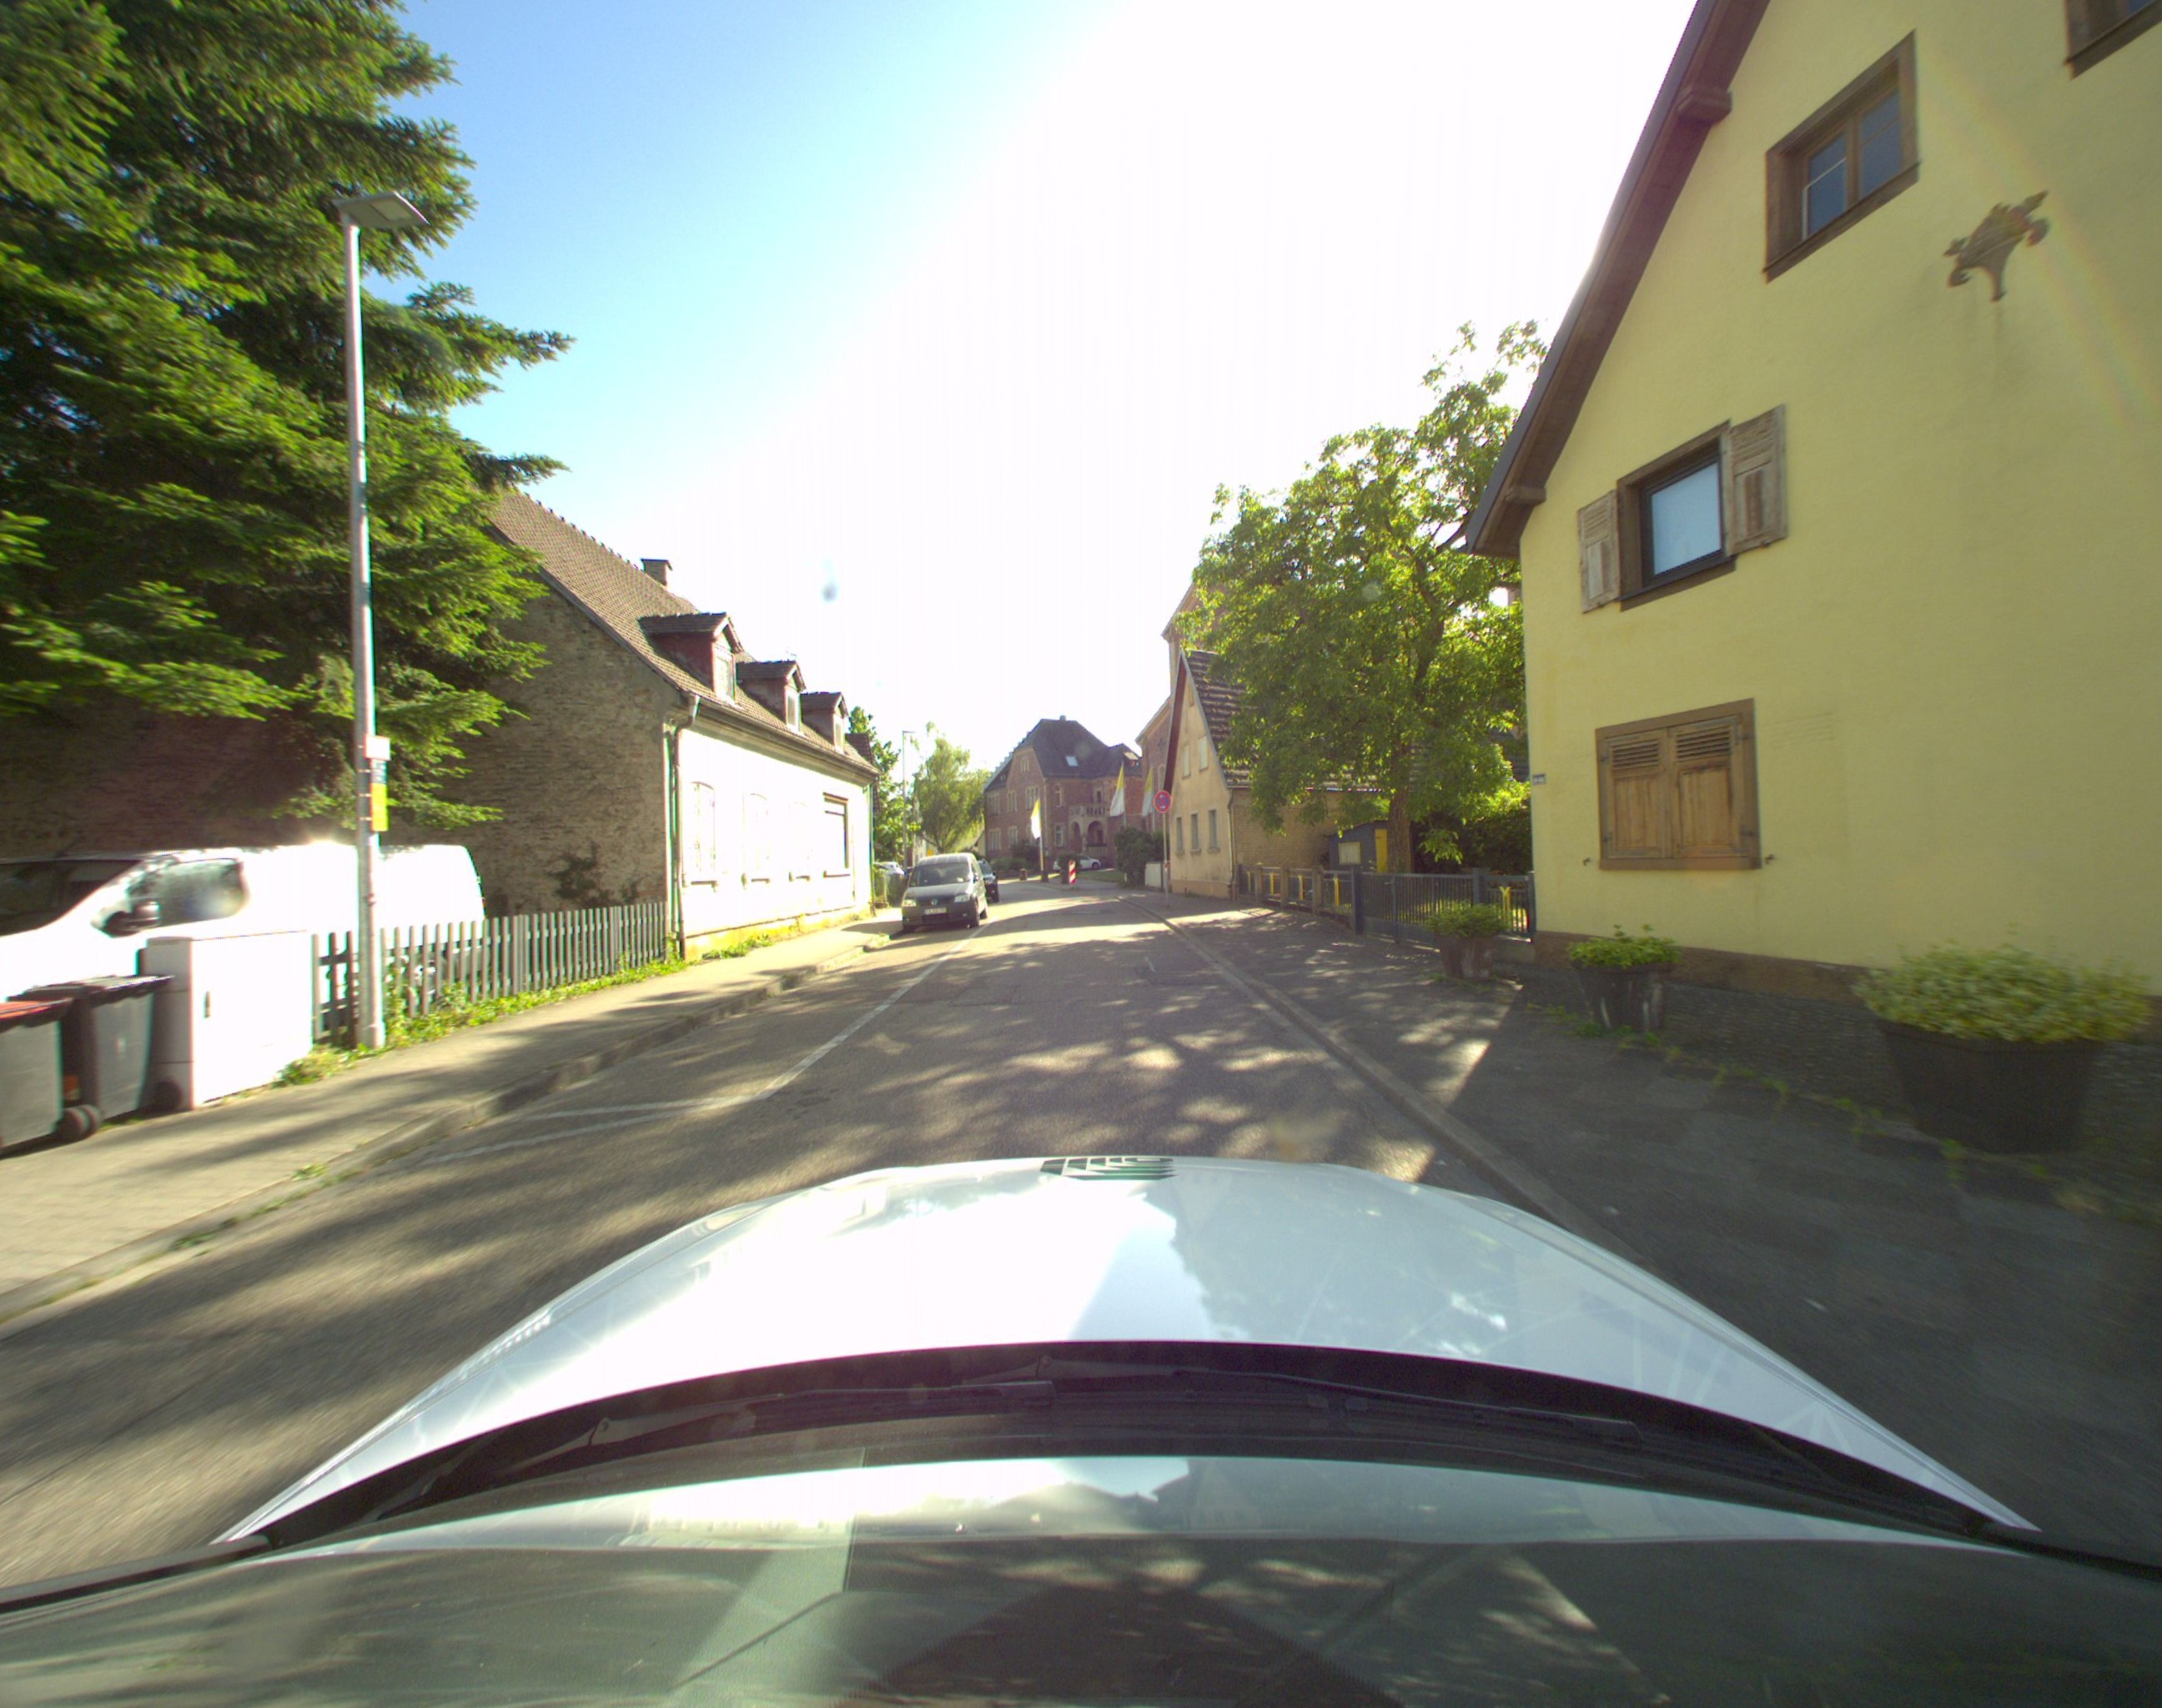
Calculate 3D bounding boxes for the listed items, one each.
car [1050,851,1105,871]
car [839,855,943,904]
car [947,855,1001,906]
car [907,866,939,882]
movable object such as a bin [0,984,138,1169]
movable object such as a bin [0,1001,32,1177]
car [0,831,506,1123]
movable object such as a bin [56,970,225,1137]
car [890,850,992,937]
[{"bbox_3d":[-0.258,0.601,68.056,4.263,1.400,1.700,-3,0,-32],"label":"car"},{"bbox_3d":[-8.326,1.092,35.616,4.200,1.732,1.821,-5,0,-18],"label":"car"},{"bbox_3d":[-4.261,0.986,31.885,1.826,1.732,4.187,-5,0,-10],"label":"car"},{"bbox_3d":[-15.315,1.960,78.664,1.723,1.400,4.206,-3,0,-30],"label":"car"},{"bbox_3d":[-6.051,1.282,4.749,0.426,0.924,0.491,-4,2,1],"label":"movable object such as a bin"},{"bbox_3d":[-6.058,1.295,4.246,0.438,0.924,0.491,-4,2,1],"label":"movable object such as a bin"},{"bbox_3d":[-8.236,0.873,7.635,1.934,1.955,5.141,-4,0,0],"label":"car"},{"bbox_3d":[-6.040,1.264,5.253,0.418,0.924,0.491,-4,2,1],"label":"movable object such as a bin"},{"bbox_3d":[-3.400,0.877,20.536,1.821,1.814,4.198,-5,0,-2],"label":"car"}]
